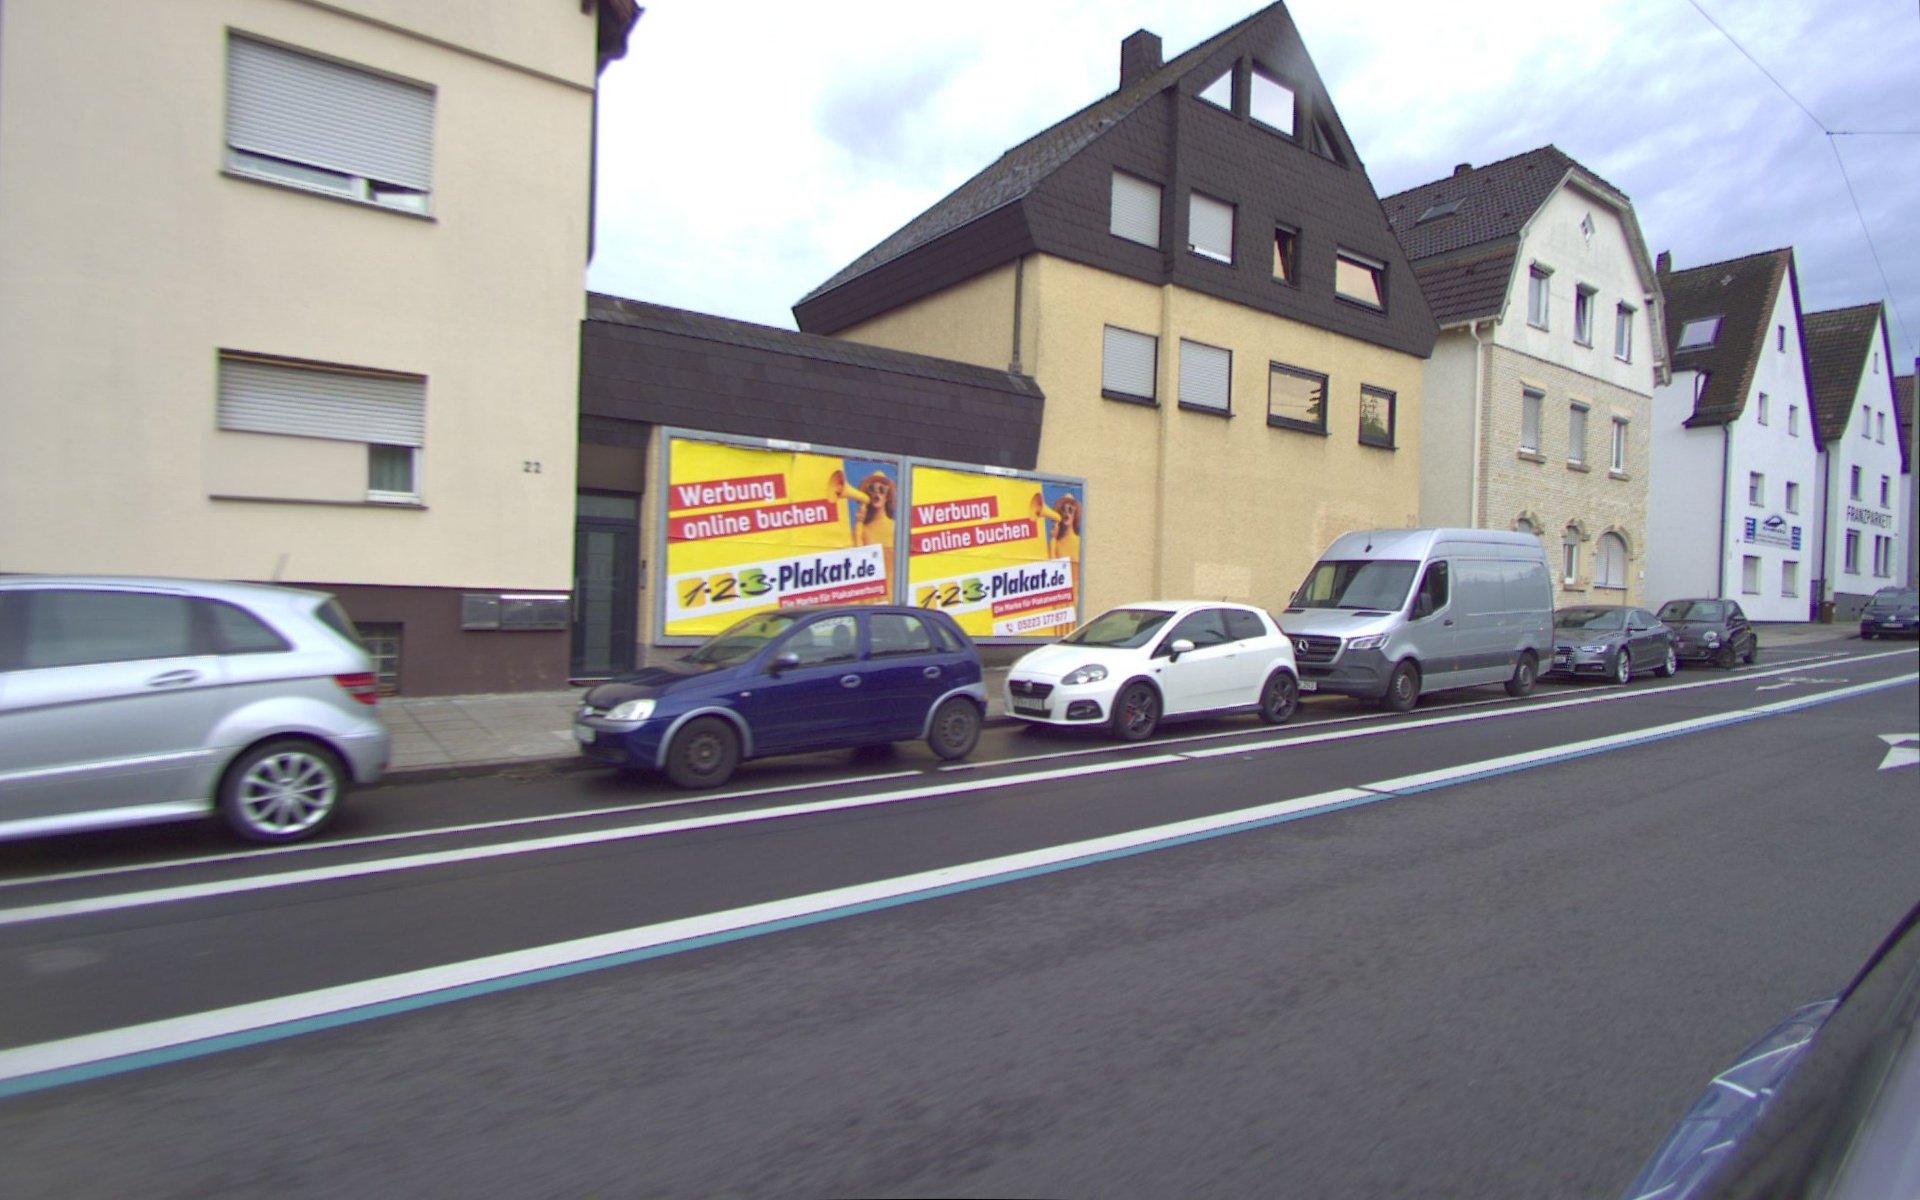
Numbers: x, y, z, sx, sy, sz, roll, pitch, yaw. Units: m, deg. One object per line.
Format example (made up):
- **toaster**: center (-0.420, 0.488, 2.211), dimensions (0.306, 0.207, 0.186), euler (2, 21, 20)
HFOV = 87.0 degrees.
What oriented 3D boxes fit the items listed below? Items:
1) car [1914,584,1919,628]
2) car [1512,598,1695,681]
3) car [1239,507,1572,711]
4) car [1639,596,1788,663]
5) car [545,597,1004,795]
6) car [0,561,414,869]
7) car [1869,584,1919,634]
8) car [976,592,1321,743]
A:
- **car**: center (36.078, 0.199, 36.471), dimensions (4.122, 1.567, 1.727), euler (-1, 0, -36)
- **car**: center (12.168, 0.671, 19.060), dimensions (4.011, 1.362, 1.726), euler (-1, 0, -39)
- **car**: center (6.806, 0.078, 15.104), dimensions (5.812, 2.530, 2.045), euler (-1, 0, -38)
- **car**: center (17.029, 0.601, 22.813), dimensions (4.125, 1.362, 1.726), euler (-1, 0, -39)
- **car**: center (-1.551, 0.689, 9.039), dimensions (3.721, 1.419, 1.605), euler (0, 0, -37)
- **car**: center (-5.612, 0.591, 5.776), dimensions (4.203, 1.586, 1.706), euler (-1, 0, -37)
- **car**: center (31.738, 0.251, 33.406), dimensions (4.122, 1.567, 1.727), euler (-1, 0, -36)
- **car**: center (2.294, 0.655, 11.793), dimensions (4.122, 1.483, 1.605), euler (0, 0, -37)
